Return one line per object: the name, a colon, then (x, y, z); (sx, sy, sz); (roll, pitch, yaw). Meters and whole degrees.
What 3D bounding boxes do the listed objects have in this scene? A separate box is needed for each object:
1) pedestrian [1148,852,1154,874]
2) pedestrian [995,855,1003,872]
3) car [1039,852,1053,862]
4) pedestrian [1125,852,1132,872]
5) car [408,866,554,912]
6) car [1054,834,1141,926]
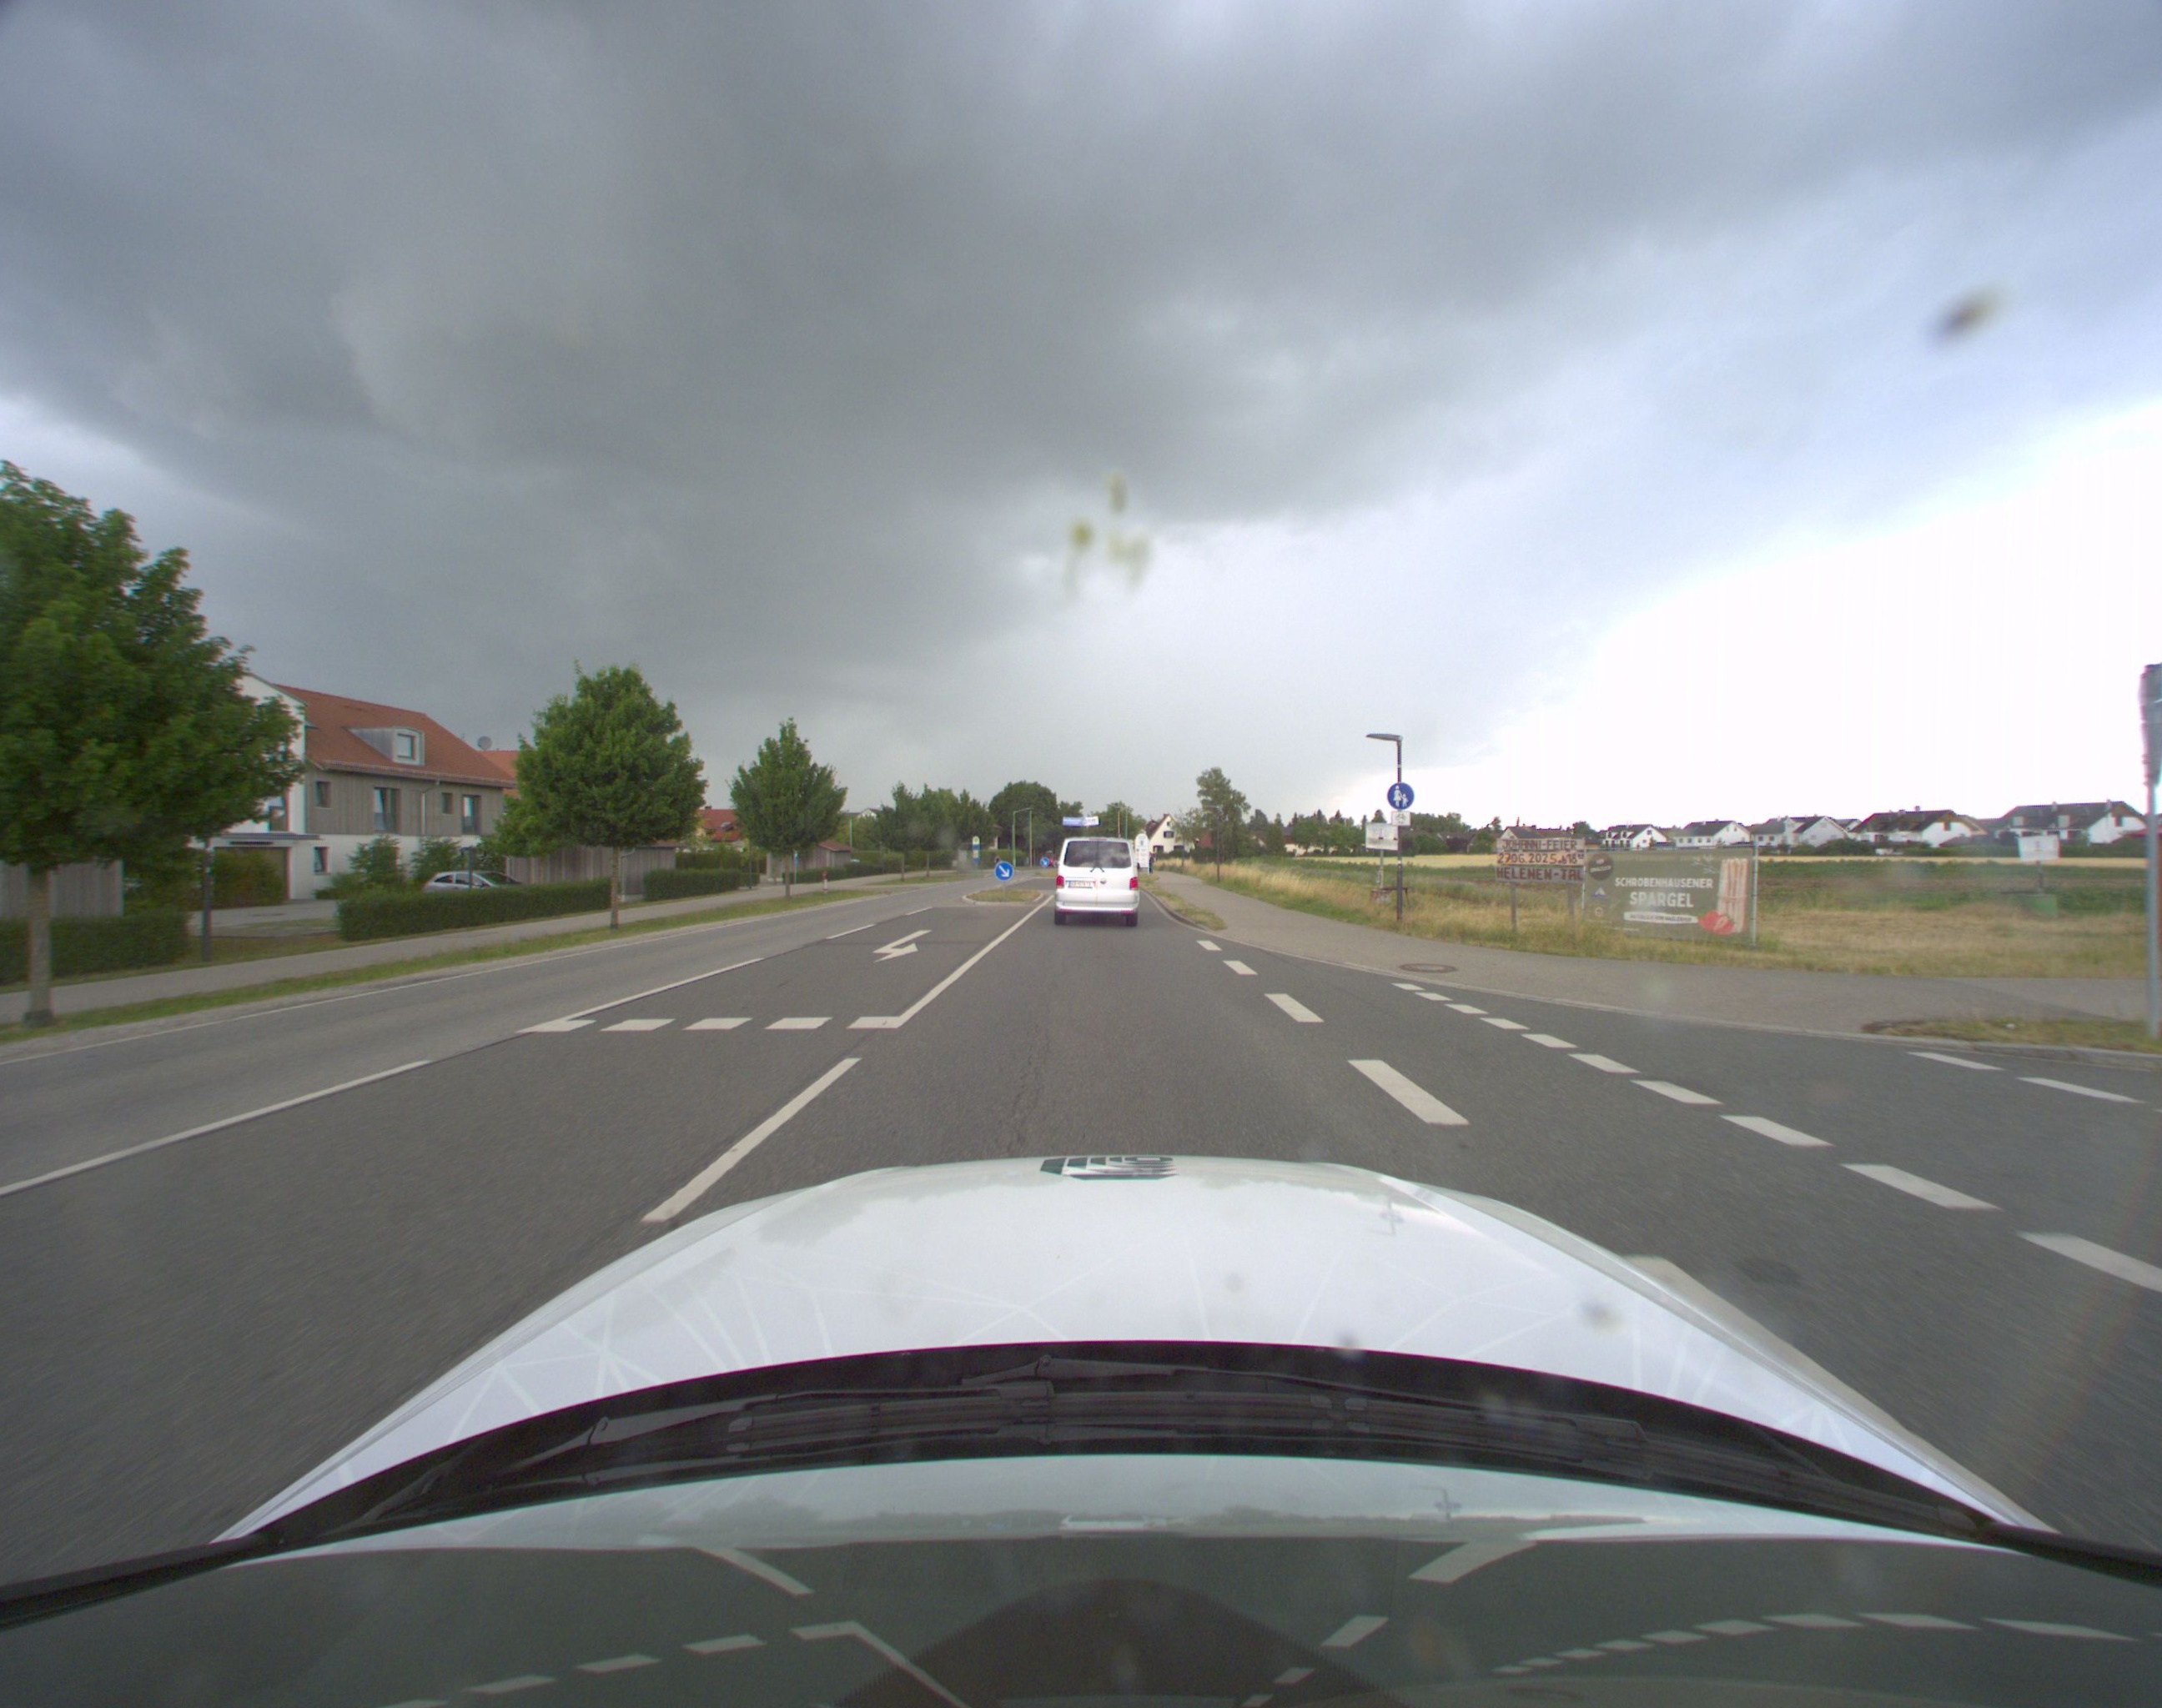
pedestrian: (5.635, 0.713, 65.522); (0.483, 1.732, 0.643); (-2, 0, 5)
pedestrian: (-7.696, 0.887, 76.552); (0.621, 1.525, 0.680); (-2, 0, 1)
car: (-4.949, 0.426, 115.309); (1.648, 1.429, 3.603); (-2, 0, 1)
pedestrian: (4.273, 0.704, 73.099); (0.483, 1.732, 0.642); (-2, 0, 0)
car: (-22.410, 1.273, 30.531); (3.971, 1.556, 2.001); (1, 0, 2)
car: (0.341, 0.540, 19.170); (1.820, 1.913, 3.999); (1, 0, 0)
